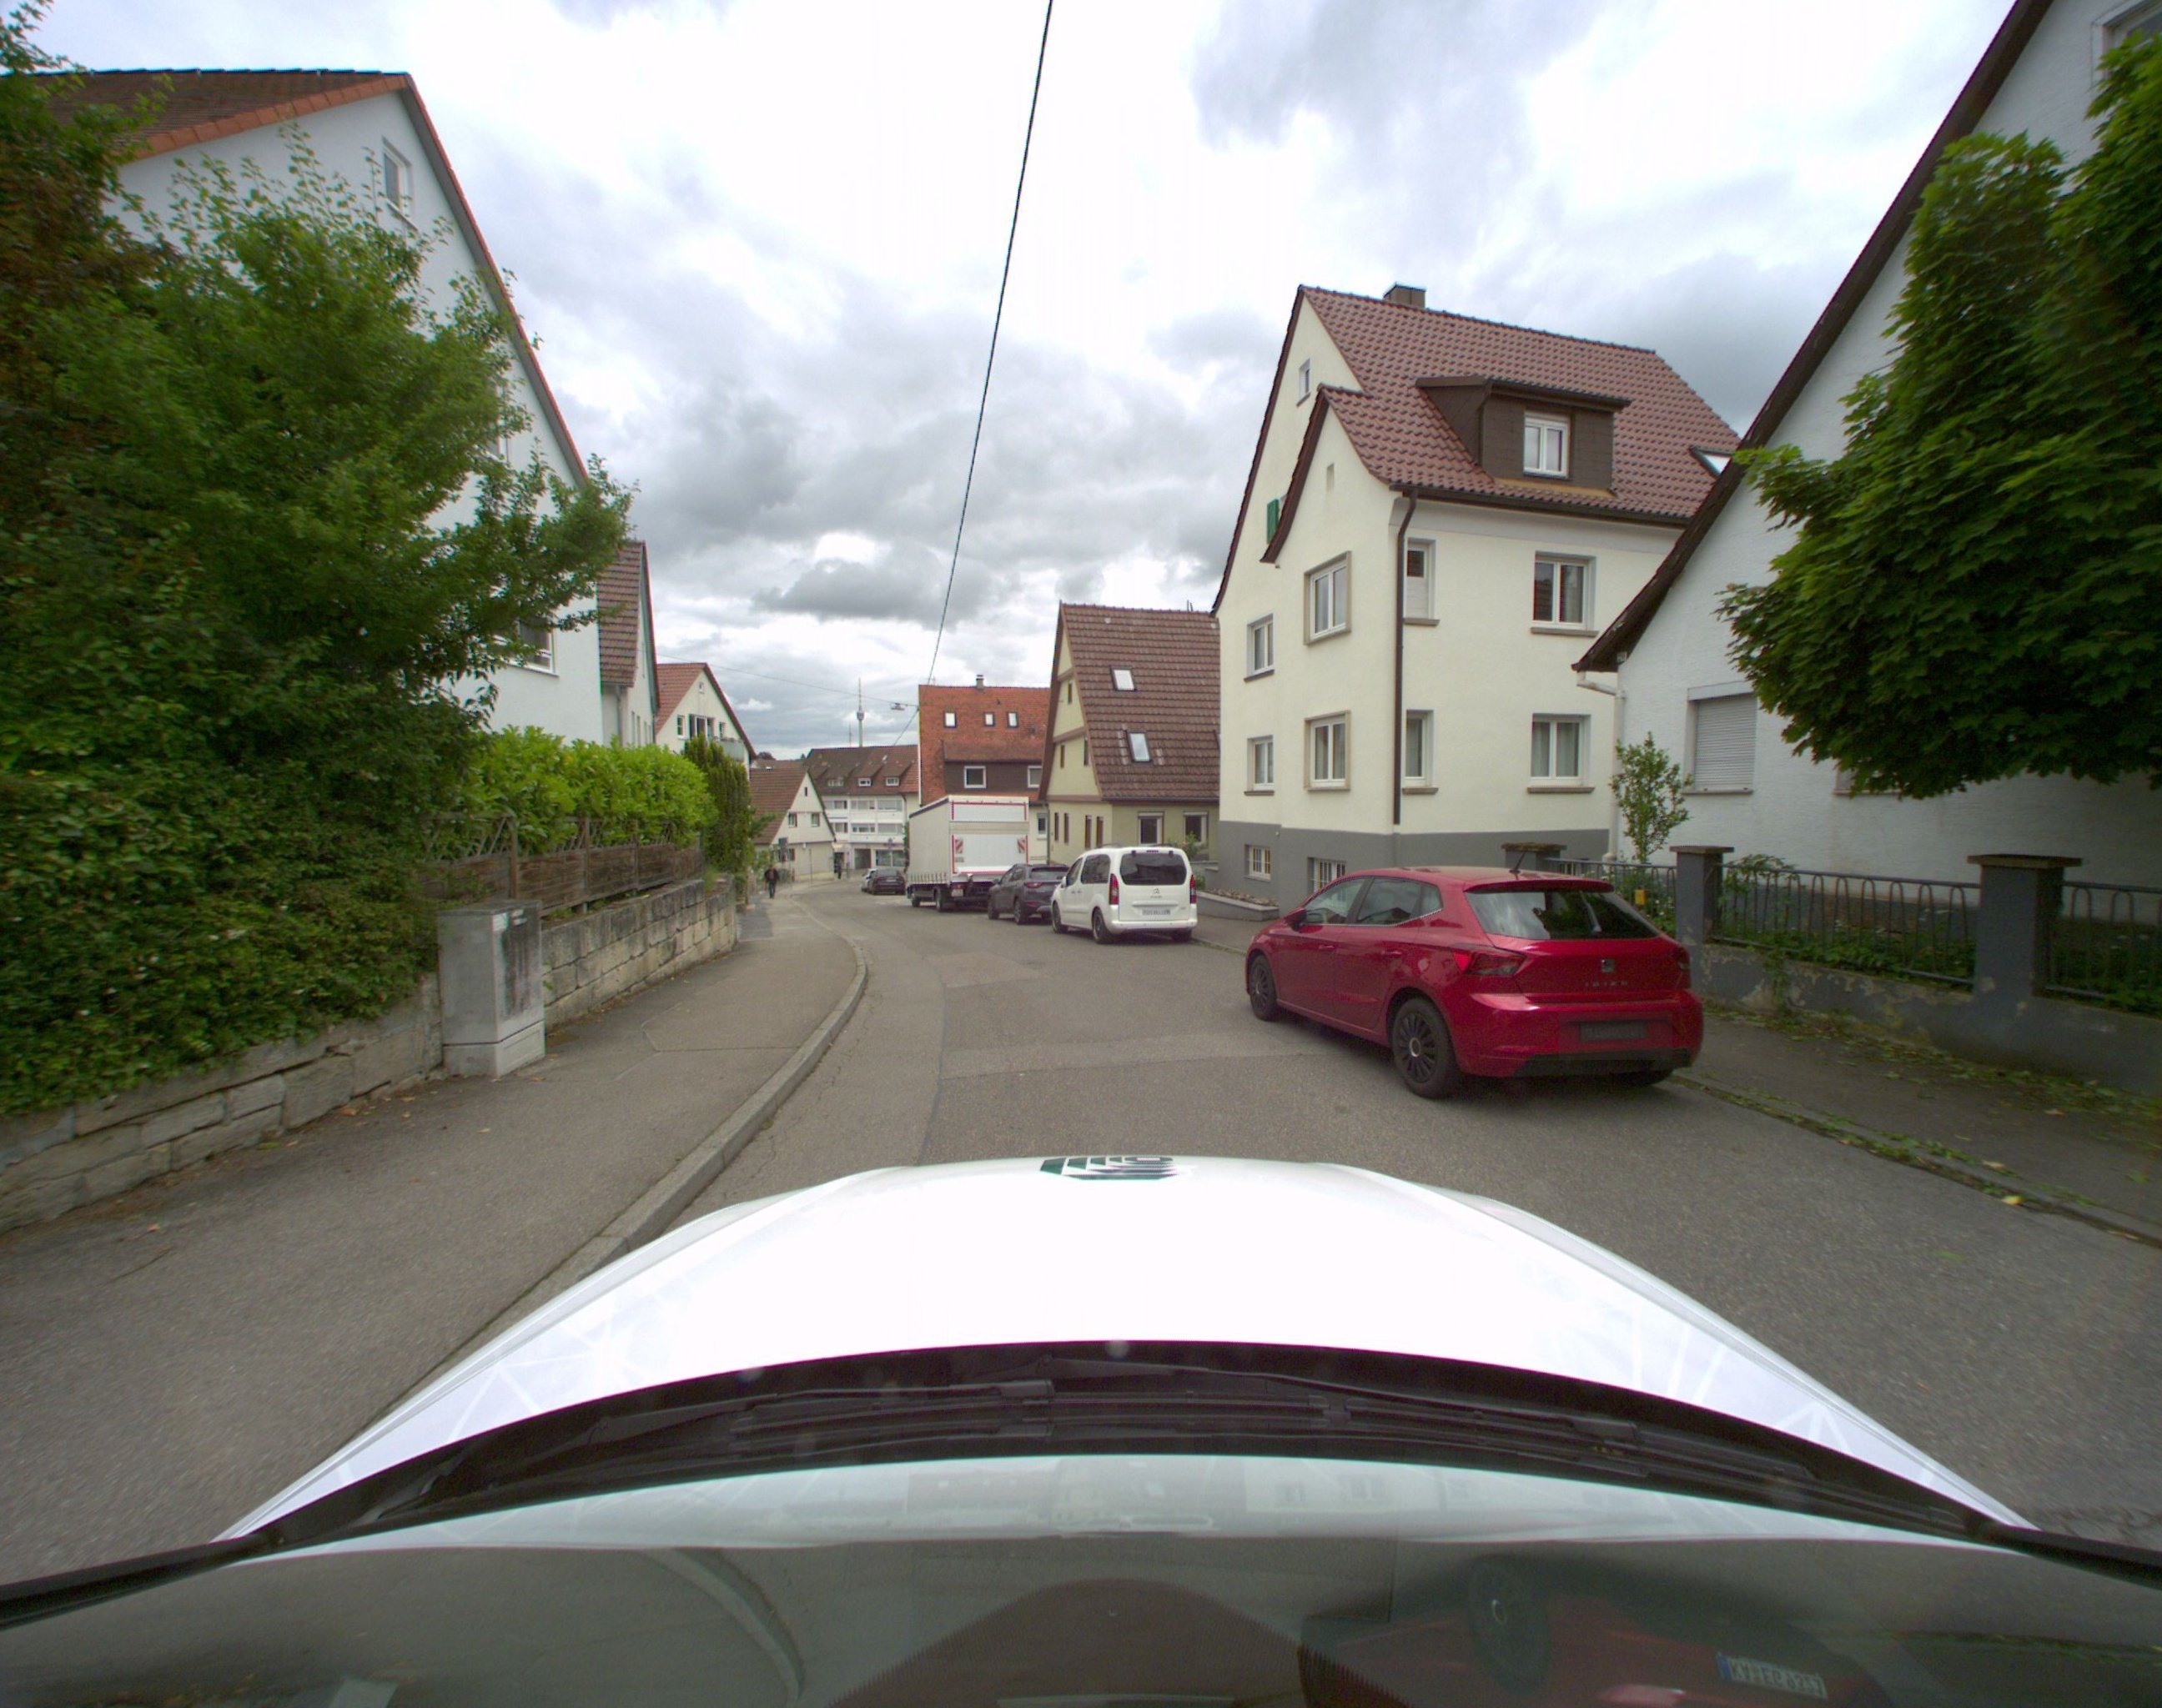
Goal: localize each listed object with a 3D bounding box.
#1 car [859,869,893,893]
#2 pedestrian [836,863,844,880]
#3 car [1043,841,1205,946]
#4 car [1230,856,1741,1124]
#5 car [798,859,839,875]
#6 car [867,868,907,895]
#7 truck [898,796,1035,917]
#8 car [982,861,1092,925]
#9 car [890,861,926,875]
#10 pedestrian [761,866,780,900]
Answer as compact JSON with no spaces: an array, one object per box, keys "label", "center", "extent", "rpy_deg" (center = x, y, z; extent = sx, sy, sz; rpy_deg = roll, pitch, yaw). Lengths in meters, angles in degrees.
[{"label":"car","center":[-12.716,1.641,50.374],"extent":[1.800,1.446,4.271],"rpy_deg":[0,-1,-18]},{"label":"pedestrian","center":[-24.498,1.791,82.701],"extent":[0.650,1.684,0.598],"rpy_deg":[-1,1,-30]},{"label":"car","center":[0.694,0.717,16.392],"extent":[1.840,1.814,4.277],"rpy_deg":[0,-1,-18]},{"label":"car","center":[2.674,0.766,6.482],"extent":[1.679,1.452,3.837],"rpy_deg":[0,-1,-11]},{"label":"car","center":[-31.142,1.548,96.502],"extent":[4.316,1.779,1.958],"rpy_deg":[-1,1,23]},{"label":"car","center":[-10.839,1.520,45.354],"extent":[1.679,1.409,4.023],"rpy_deg":[0,-1,-20]},{"label":"truck","center":[-4.251,0.130,28.426],"extent":[2.687,3.597,8.042],"rpy_deg":[-1,-1,-23]},{"label":"car","center":[-1.265,0.991,21.523],"extent":[1.739,1.506,4.021],"rpy_deg":[0,-2,-22]},{"label":"car","center":[-19.581,1.546,92.018],"extent":[3.650,1.556,1.707],"rpy_deg":[0,1,24]},{"label":"pedestrian","center":[-15.608,1.451,40.923],"extent":[0.843,1.678,0.969],"rpy_deg":[1,-2,-22]}]
